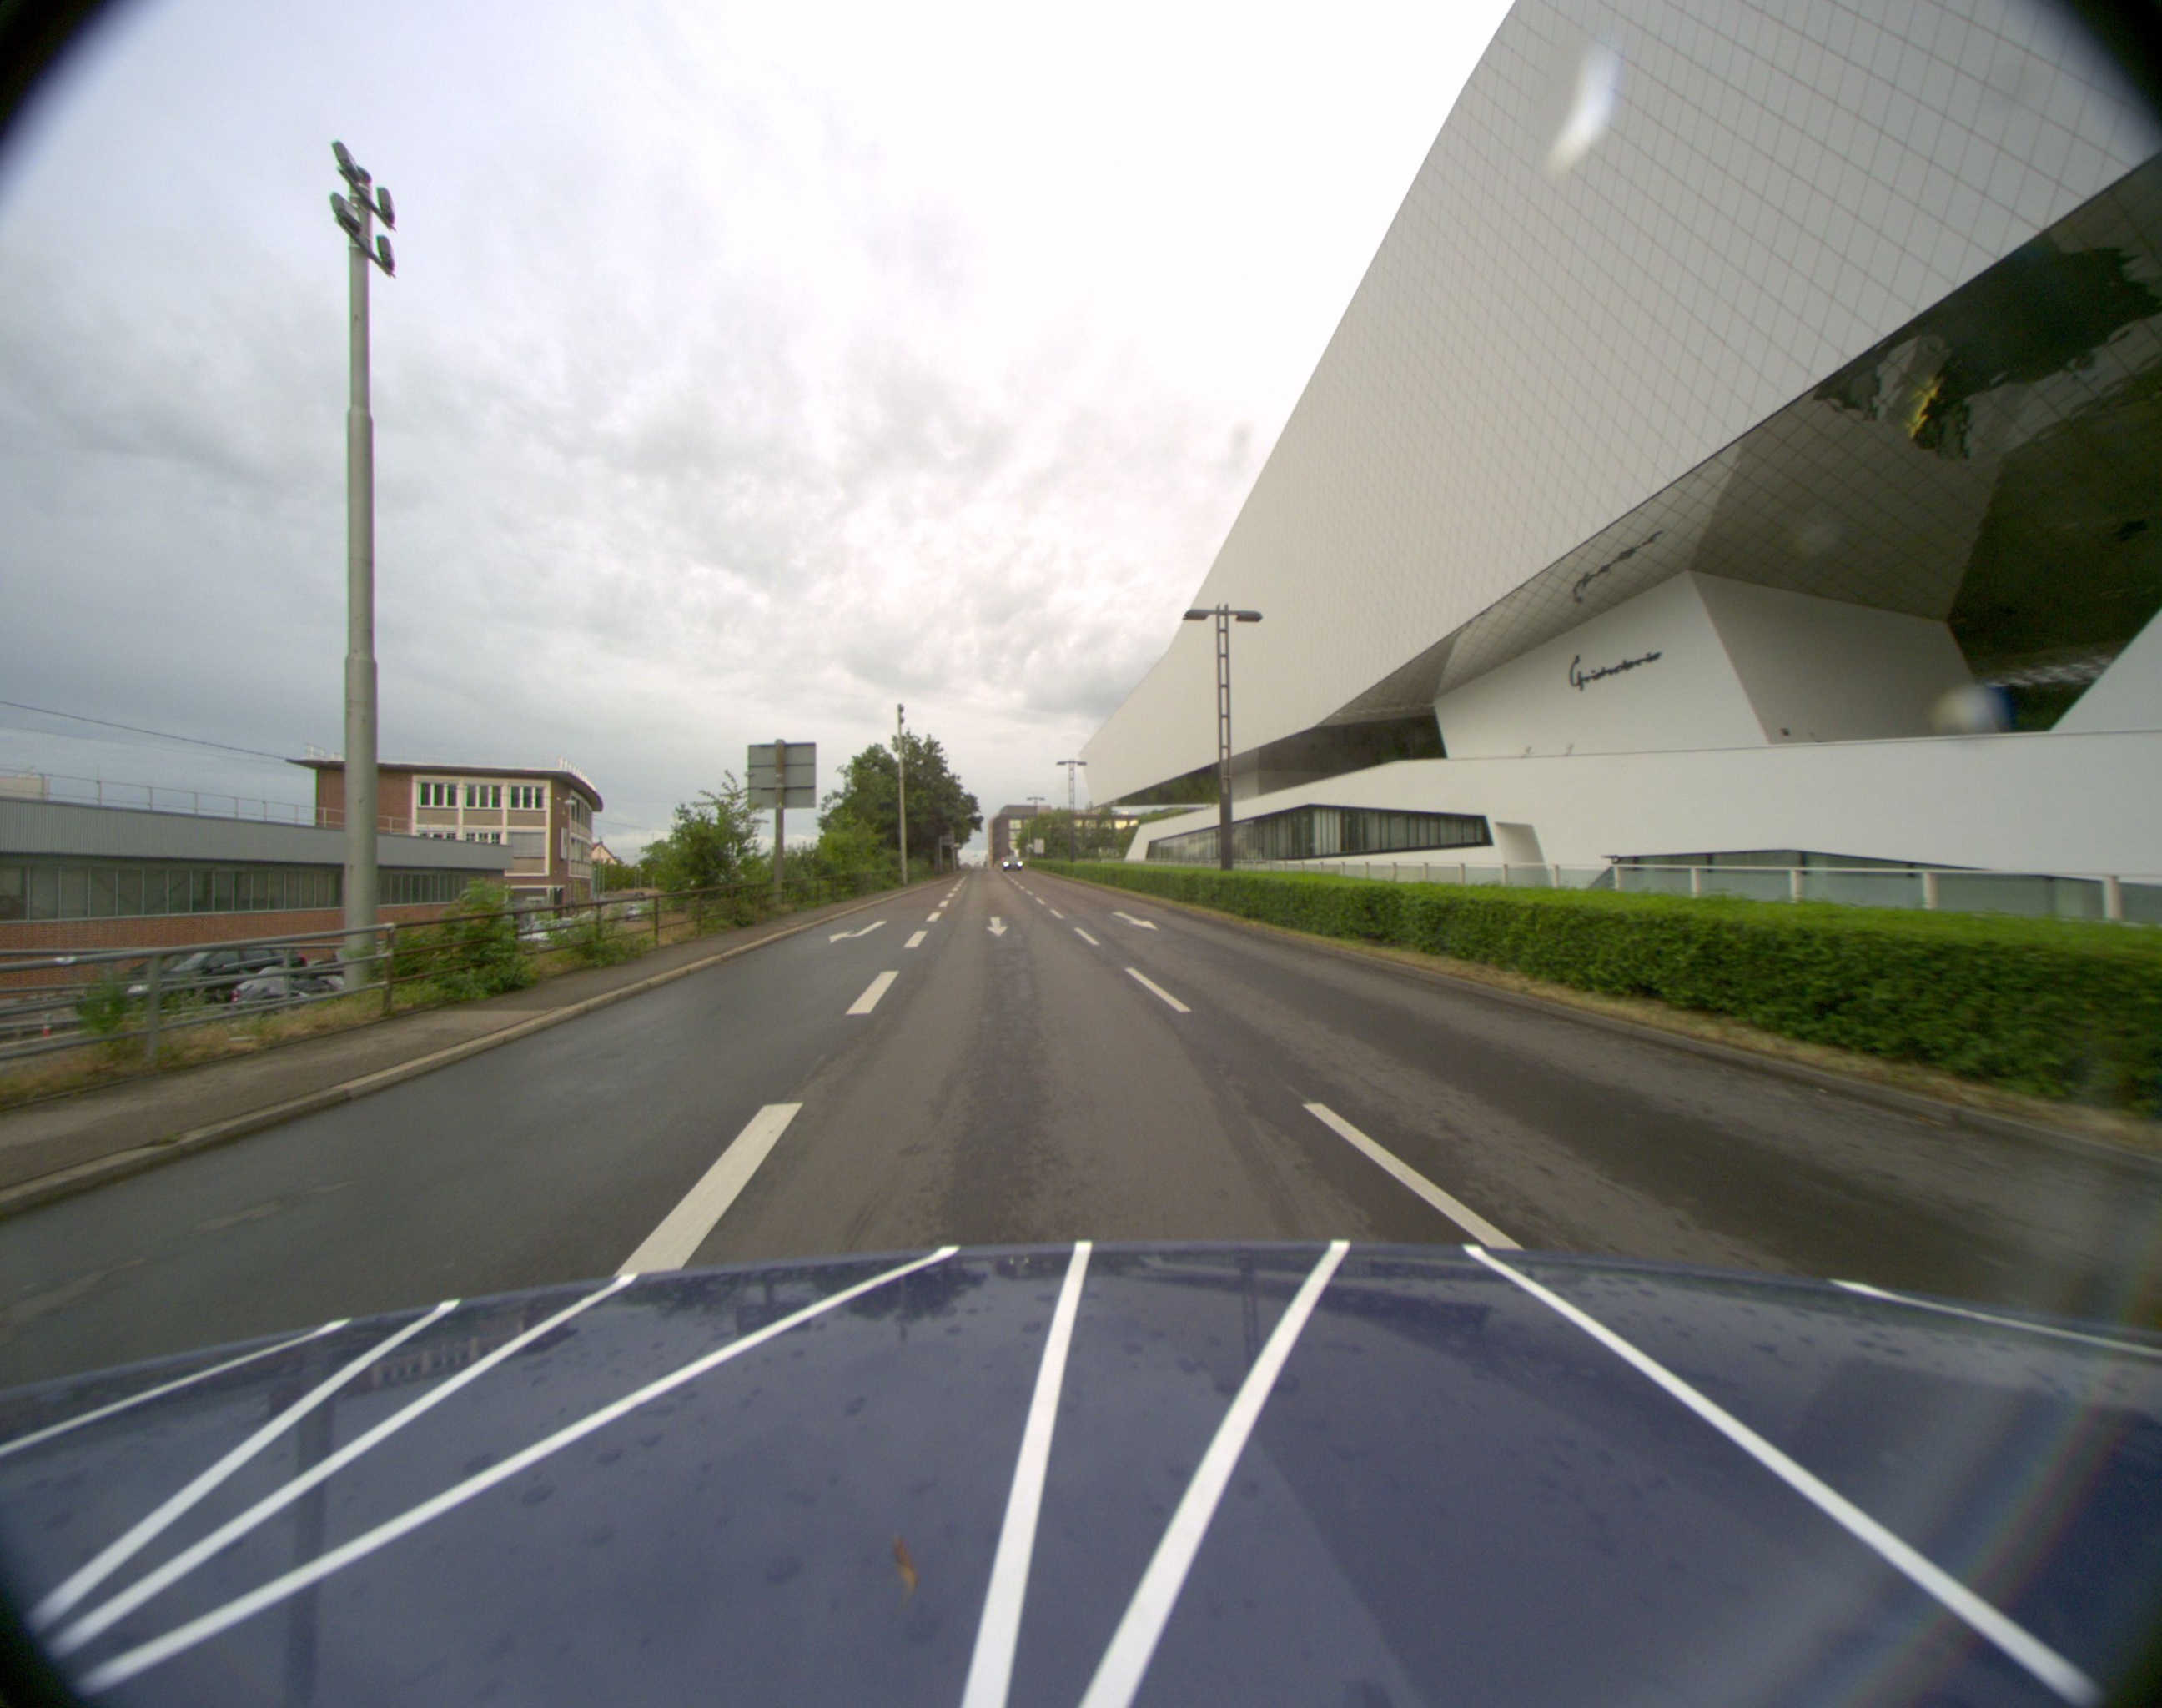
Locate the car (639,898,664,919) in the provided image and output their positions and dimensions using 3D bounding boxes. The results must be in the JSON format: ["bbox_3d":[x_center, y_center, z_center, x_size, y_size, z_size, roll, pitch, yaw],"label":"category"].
[{"bbox_3d":[-39.278,4.933,69.554,1.749,1.516,4.441,-3,1,-27],"label":"car"}]

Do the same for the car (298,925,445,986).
[{"bbox_3d":[-23.997,3.377,25.904,1.703,1.546,3.854,-1,0,-7],"label":"car"}]

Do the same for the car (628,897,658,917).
[{"bbox_3d":[-37.268,4.481,64.675,1.670,1.387,3.993,-2,0,-23],"label":"car"}]

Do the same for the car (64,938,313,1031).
[{"bbox_3d":[-22.957,3.275,19.864,1.638,1.621,4.427,-1,0,-7],"label":"car"}]

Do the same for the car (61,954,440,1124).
[{"bbox_3d":[-11.926,2.546,11.370,1.703,1.546,3.854,-1,0,-7],"label":"car"}]

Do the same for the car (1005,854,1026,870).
[{"bbox_3d":[-6.898,0.807,80.151,1.842,1.574,4.285,-1,0,-9],"label":"car"}]
